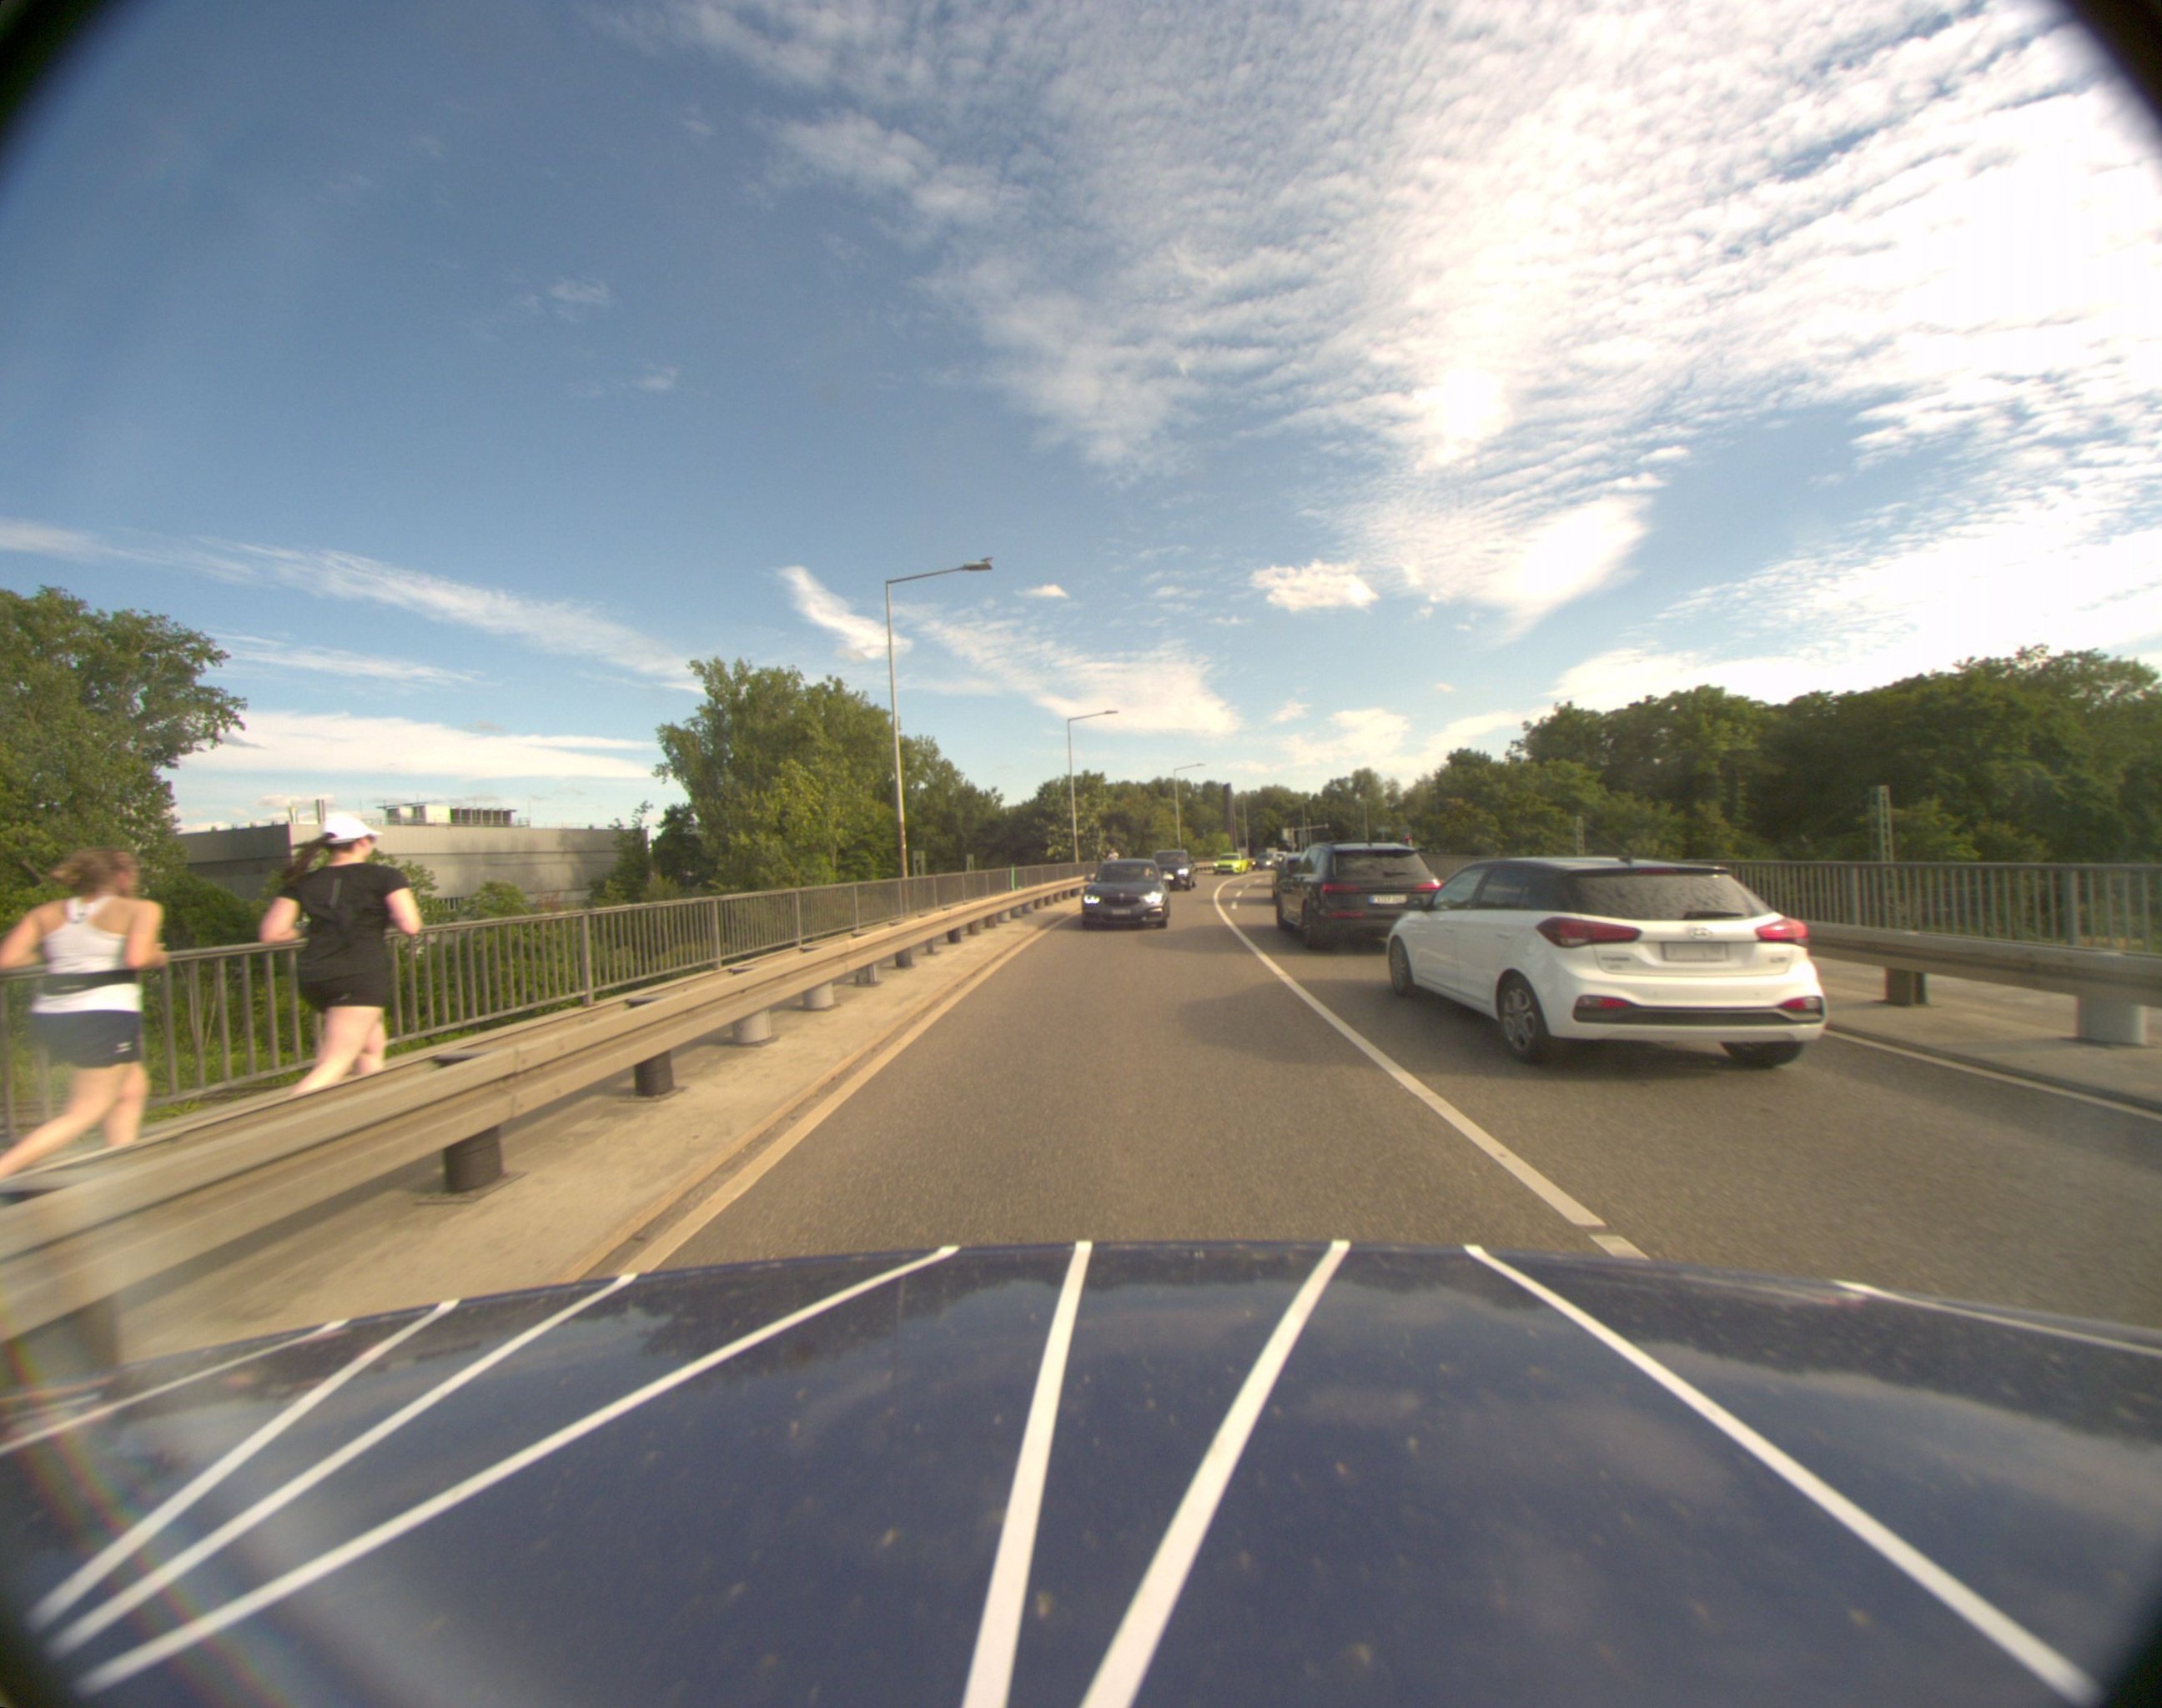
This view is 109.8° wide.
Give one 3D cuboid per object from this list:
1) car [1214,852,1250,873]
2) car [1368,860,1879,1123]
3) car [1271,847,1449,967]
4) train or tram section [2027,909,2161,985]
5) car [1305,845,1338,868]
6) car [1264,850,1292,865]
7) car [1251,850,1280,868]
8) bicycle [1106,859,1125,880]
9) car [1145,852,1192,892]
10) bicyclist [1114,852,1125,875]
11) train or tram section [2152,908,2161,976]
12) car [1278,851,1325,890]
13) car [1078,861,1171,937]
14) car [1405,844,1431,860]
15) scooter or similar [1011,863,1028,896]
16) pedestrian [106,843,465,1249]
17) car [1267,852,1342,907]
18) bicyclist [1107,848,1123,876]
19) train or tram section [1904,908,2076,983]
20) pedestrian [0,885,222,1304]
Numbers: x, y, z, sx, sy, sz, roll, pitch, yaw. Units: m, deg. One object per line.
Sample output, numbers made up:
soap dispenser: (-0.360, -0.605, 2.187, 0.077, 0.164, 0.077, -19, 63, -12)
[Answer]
car: (10.455, 0.554, 52.446, 1.816, 1.396, 4.397, 0, 0, 19)
car: (3.979, 0.833, 6.560, 1.744, 1.492, 4.078, -1, 0, 5)
car: (4.510, 0.731, 13.083, 1.833, 1.662, 4.869, -1, 0, 7)
train or tram section: (56.538, 5.040, 41.576, 6.837, 3.762, 2.051, -1, 1, 1)
car: (18.619, 0.157, 58.678, 1.871, 1.656, 4.637, 0, 1, 25)
car: (18.117, 0.288, 69.749, 1.687, 1.315, 3.791, -1, 1, 28)
car: (14.962, 0.385, 61.489, 1.688, 1.315, 3.790, -1, 1, 22)
bicycle: (1.923, 0.877, 42.596, 0.596, 1.114, 1.699, -1, 1, 18)
car: (3.645, 0.705, 31.696, 1.818, 1.498, 4.393, -1, 0, 6)
bicyclist: (2.191, 0.533, 43.023, 0.500, 1.294, 0.539, -1, 1, 18)
train or tram section: (63.365, 4.859, 41.450, 6.837, 3.762, 2.051, -1, 1, 1)
car: (9.328, 0.652, 32.219, 1.762, 1.481, 4.396, -1, 0, 16)
car: (1.084, 0.905, 16.806, 1.785, 1.396, 3.972, -1, 0, 7)
car: (41.024, -0.275, 92.481, 1.986, 1.953, 5.058, 0, 1, 35)
scooter or similar: (-2.266, 0.934, 28.192, 0.266, 1.155, 1.189, -1, 1, 12)
pedestrian: (-3.588, 0.781, 3.523, 0.678, 1.652, 0.865, -1, 1, 4)
car: (6.745, 0.712, 23.283, 1.763, 1.481, 4.449, -1, 0, 11)
bicyclist: (1.892, 0.432, 42.482, 0.708, 1.548, 0.755, -1, 1, 18)
train or tram section: (49.737, 4.971, 41.696, 6.837, 3.762, 2.051, -1, 1, 1)
pedestrian: (-4.393, 0.922, 3.068, 0.678, 1.535, 0.961, -1, 1, 3)
